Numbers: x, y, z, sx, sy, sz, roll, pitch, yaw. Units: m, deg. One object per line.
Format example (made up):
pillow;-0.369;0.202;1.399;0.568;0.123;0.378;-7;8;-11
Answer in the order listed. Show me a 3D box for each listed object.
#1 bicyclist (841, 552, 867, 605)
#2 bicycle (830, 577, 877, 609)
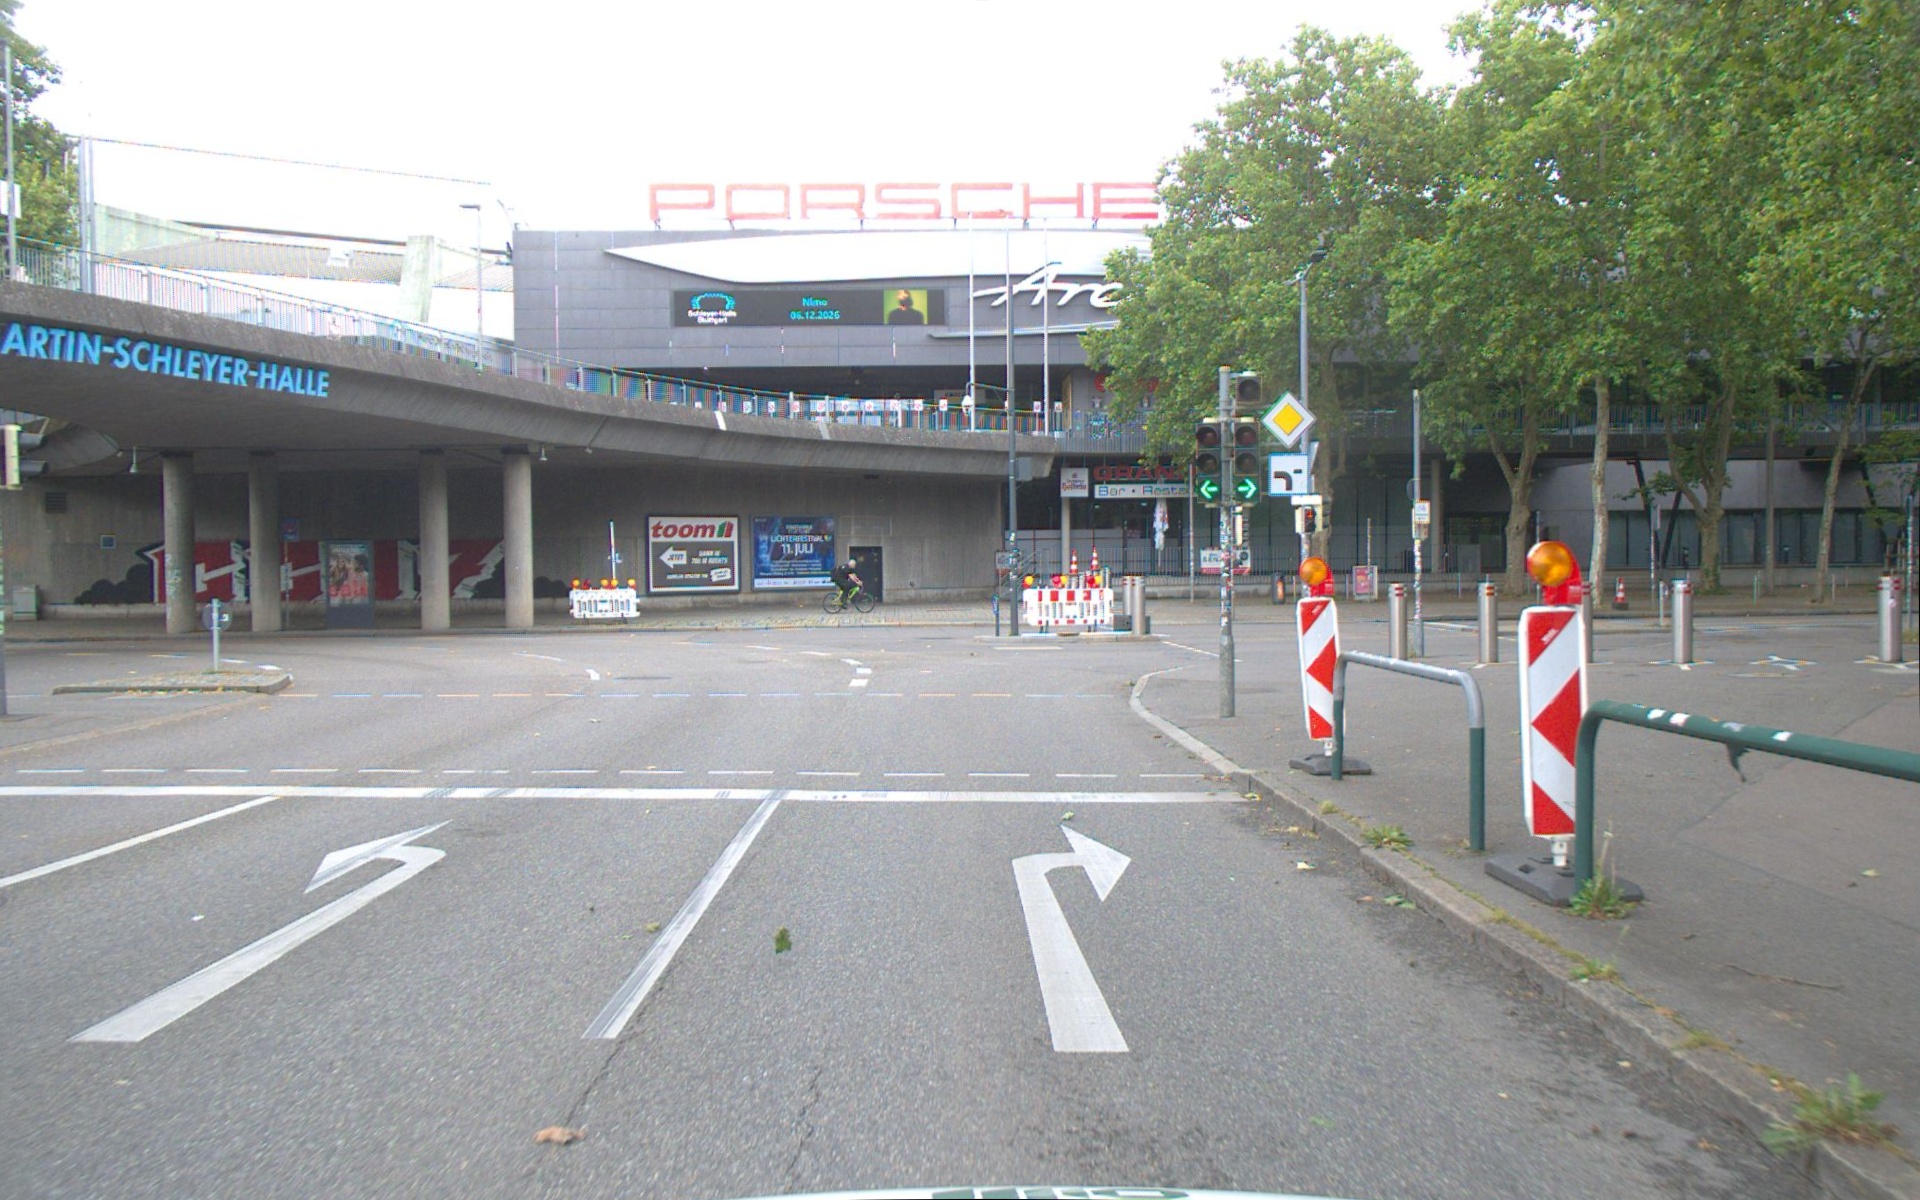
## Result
bicyclist;-3.517;-0.707;54.675;0.835;1.727;0.766;1;0;-5
bicycle;-3.519;-0.217;54.671;1.503;1.031;0.516;1;0;-5
